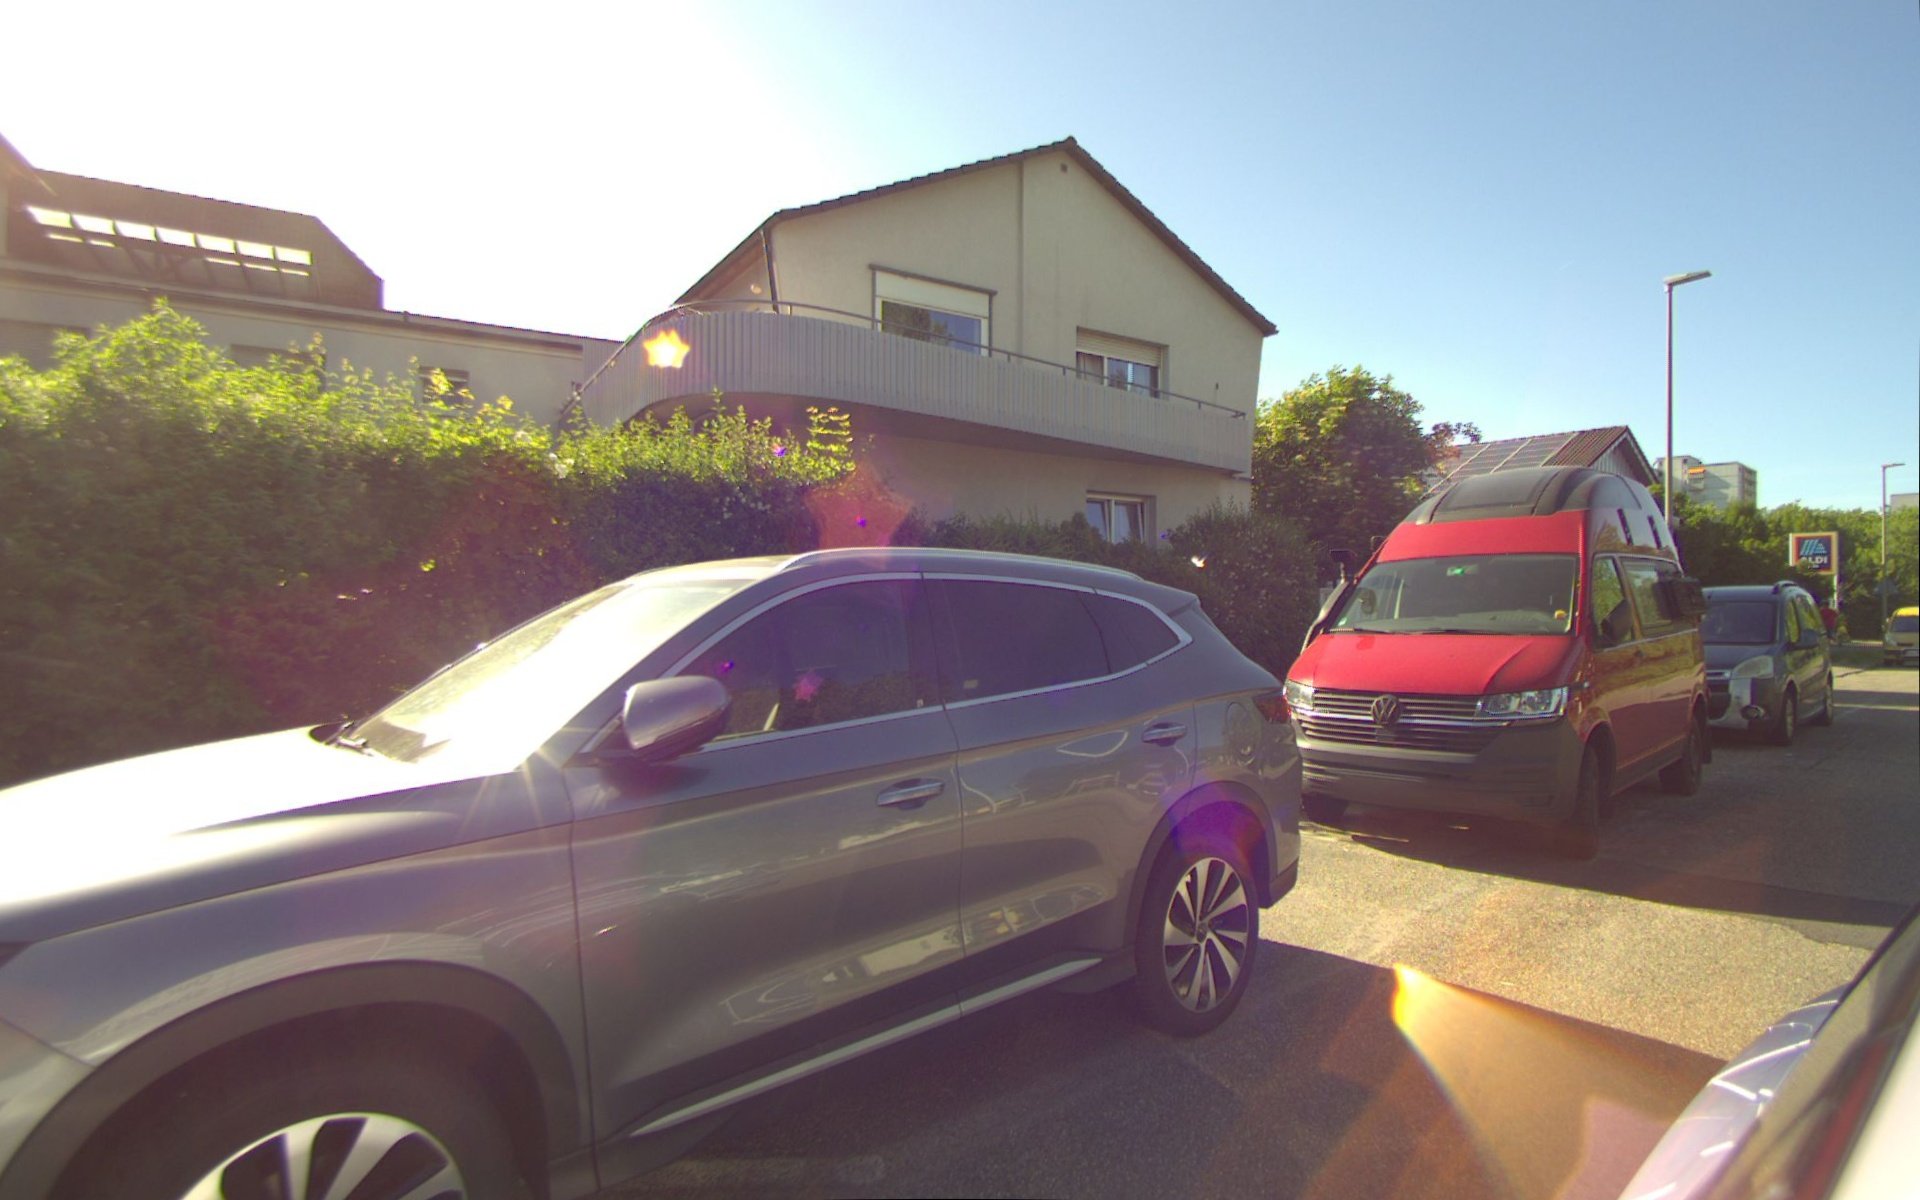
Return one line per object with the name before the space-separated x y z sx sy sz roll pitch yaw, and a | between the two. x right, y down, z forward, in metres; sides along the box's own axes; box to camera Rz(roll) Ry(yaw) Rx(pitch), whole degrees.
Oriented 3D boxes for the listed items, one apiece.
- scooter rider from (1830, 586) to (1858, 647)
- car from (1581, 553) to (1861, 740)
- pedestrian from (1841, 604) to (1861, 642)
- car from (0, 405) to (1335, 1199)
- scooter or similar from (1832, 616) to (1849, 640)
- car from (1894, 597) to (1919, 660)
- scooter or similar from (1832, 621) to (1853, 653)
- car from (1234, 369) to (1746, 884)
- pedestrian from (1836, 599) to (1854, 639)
scooter rider | 30.419 0.569 34.835 0.598 2.038 0.479 4 2 43
car | 9.375 0.511 12.325 4.481 1.872 1.859 1 -3 -42
pedestrian | 41.736 1.068 47.388 0.670 1.791 0.581 0 -1 41
car | -0.812 0.616 3.278 4.498 1.760 1.959 0 -1 -42
scooter or similar | 40.156 1.271 46.153 0.826 1.092 0.478 1 -1 -42
car | 28.965 0.821 29.894 3.912 1.799 1.619 1 -1 -42
scooter or similar | 30.425 1.279 34.882 0.456 1.043 1.033 5 3 43
car | 4.340 0.155 7.780 5.137 2.678 1.958 1 -1 -44
pedestrian | 40.751 0.866 46.615 0.580 1.791 0.541 1 -1 -42
